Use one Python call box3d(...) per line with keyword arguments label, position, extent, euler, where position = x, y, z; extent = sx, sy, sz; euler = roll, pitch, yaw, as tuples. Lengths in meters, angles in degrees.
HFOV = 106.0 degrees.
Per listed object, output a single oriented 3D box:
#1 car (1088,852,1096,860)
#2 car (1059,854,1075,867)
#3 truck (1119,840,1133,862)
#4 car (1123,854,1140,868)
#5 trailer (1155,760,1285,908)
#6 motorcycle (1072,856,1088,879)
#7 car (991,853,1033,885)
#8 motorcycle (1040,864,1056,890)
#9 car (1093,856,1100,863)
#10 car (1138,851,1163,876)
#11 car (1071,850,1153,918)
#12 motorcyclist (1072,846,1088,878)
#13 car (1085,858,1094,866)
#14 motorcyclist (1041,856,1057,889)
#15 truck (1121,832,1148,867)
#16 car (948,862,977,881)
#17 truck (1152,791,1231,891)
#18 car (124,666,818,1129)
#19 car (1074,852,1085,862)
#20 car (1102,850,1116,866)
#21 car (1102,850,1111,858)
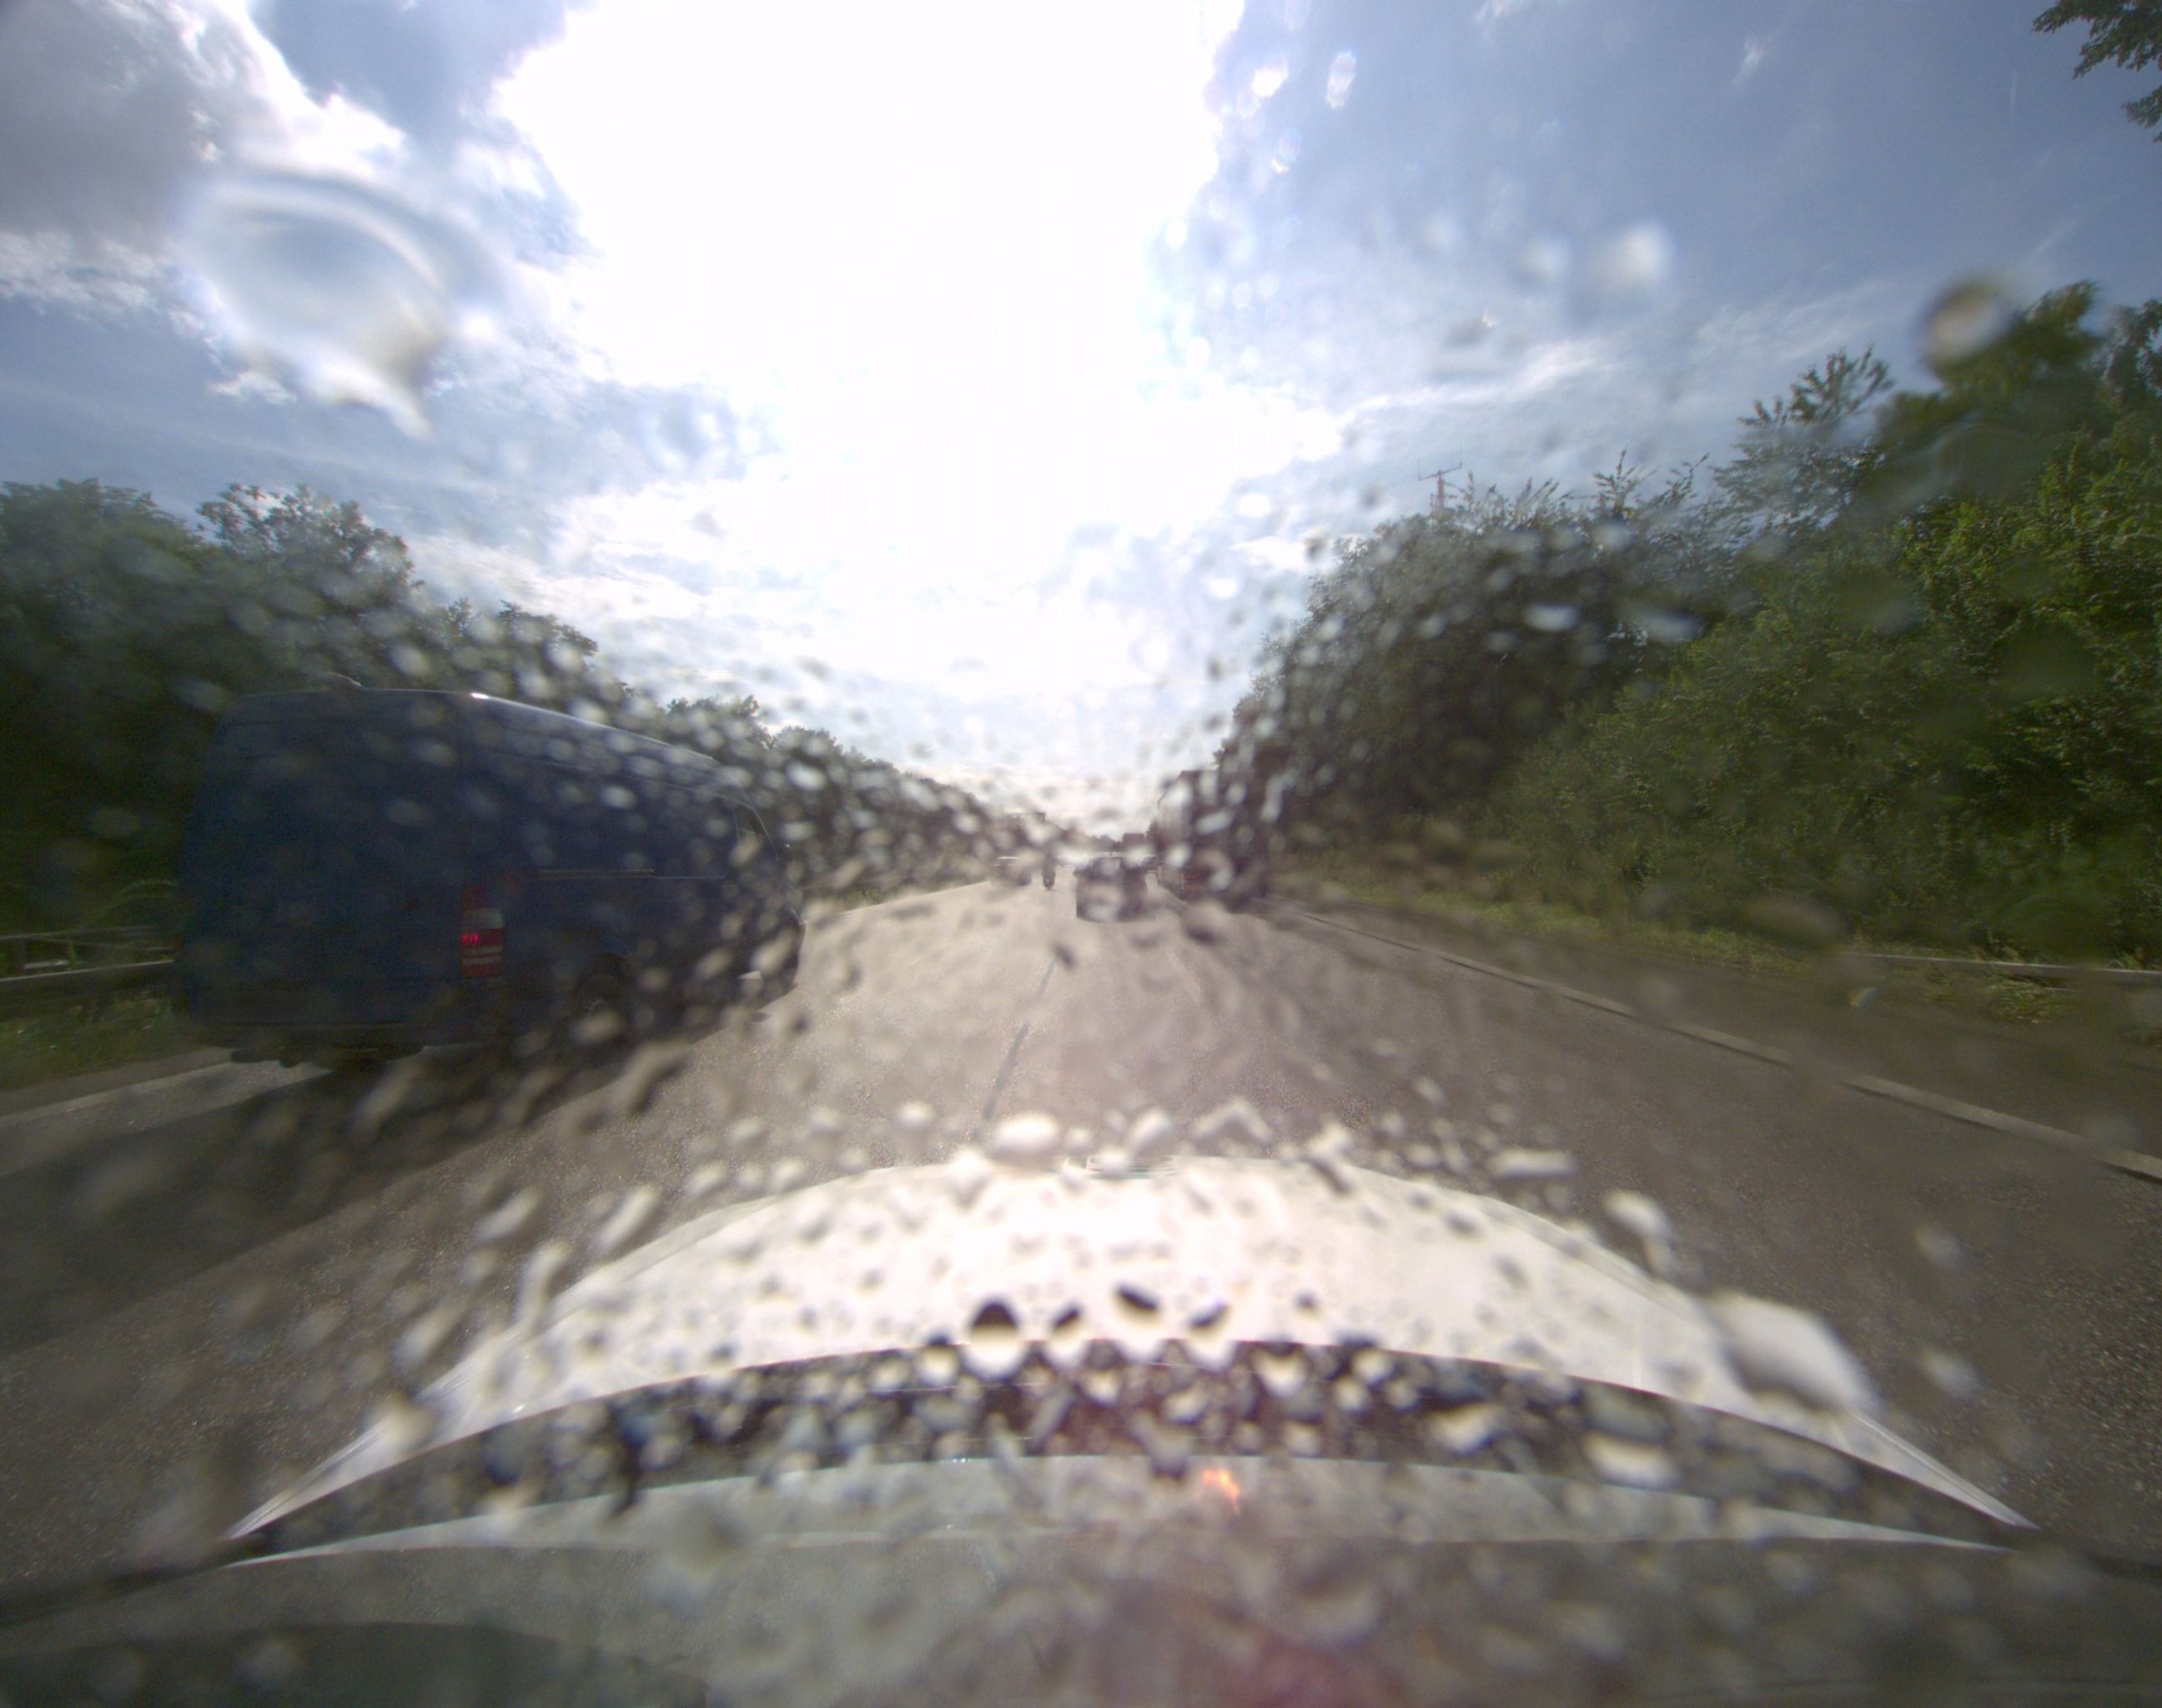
box3d(label="car", position=(2.832, 0.498, 204.038), extent=(1.986, 2.014, 4.001), euler=(-1, -1, 1))
box3d(label="car", position=(-1.779, 0.775, 104.583), extent=(1.886, 1.628, 4.196), euler=(-1, 0, 1))
box3d(label="truck", position=(10.106, -0.596, 183.442), extent=(2.871, 4.687, 12.662), euler=(-1, 0, 2))
box3d(label="car", position=(5.475, 0.758, 88.292), extent=(1.669, 1.490, 3.437), euler=(-1, 0, 1))
box3d(label="trailer", position=(4.741, -0.570, 31.021), extent=(3.076, 4.312, 14.113), euler=(-1, 0, 3))
box3d(label="motorcycle", position=(-0.056, 0.758, 45.594), extent=(0.817, 1.263, 2.118), euler=(-1, 0, 1))
box3d(label="car", position=(-3.646, 0.753, 43.500), extent=(1.752, 1.594, 4.332), euler=(-1, 0, 1))
box3d(label="motorcycle", position=(-1.445, 1.022, 36.366), extent=(0.674, 1.087, 1.980), euler=(0, 0, -2))
box3d(label="car", position=(4.293, 1.460, 225.521), extent=(1.986, 2.014, 4.001), euler=(-1, -1, 1))
box3d(label="car", position=(5.835, 0.818, 68.548), extent=(1.842, 2.014, 4.089), euler=(-1, -1, 2))
box3d(label="car", position=(0.777, 0.717, 21.245), extent=(1.908, 1.565, 4.315), euler=(-1, 0, 1))
box3d(label="motorcyclist", position=(-0.064, 0.447, 45.567), extent=(0.818, 1.761, 1.390), euler=(-1, -1, 1))
box3d(label="car", position=(2.027, 1.836, 187.329), extent=(1.986, 2.014, 4.001), euler=(-1, -1, 1))
box3d(label="motorcyclist", position=(-1.427, 0.814, 36.443), extent=(0.669, 1.442, 1.019), euler=(-1, -1, -2))
box3d(label="truck", position=(6.924, -0.568, 106.597), extent=(3.190, 4.404, 9.436), euler=(-1, 0, 2))
box3d(label="car", position=(-11.663, 1.670, 80.413), extent=(1.902, 1.679, 4.969), euler=(-3, 0, 1))
box3d(label="truck", position=(5.044, -0.561, 38.319), extent=(3.041, 4.325, 5.888), euler=(-1, 0, 2))
box3d(label="car", position=(-4.469, 0.255, 7.602), extent=(2.008, 2.648, 5.778), euler=(-1, 0, 1))
box3d(label="car", position=(-0.221, 0.519, 134.869), extent=(1.669, 1.597, 3.437), euler=(-1, 0, 1))
box3d(label="car", position=(3.309, 0.473, 96.606), extent=(1.669, 1.936, 3.774), euler=(-1, 0, 1))
box3d(label="car", position=(4.730, -0.029, 152.787), extent=(1.626, 1.490, 3.437), euler=(-1, 0, 1))
